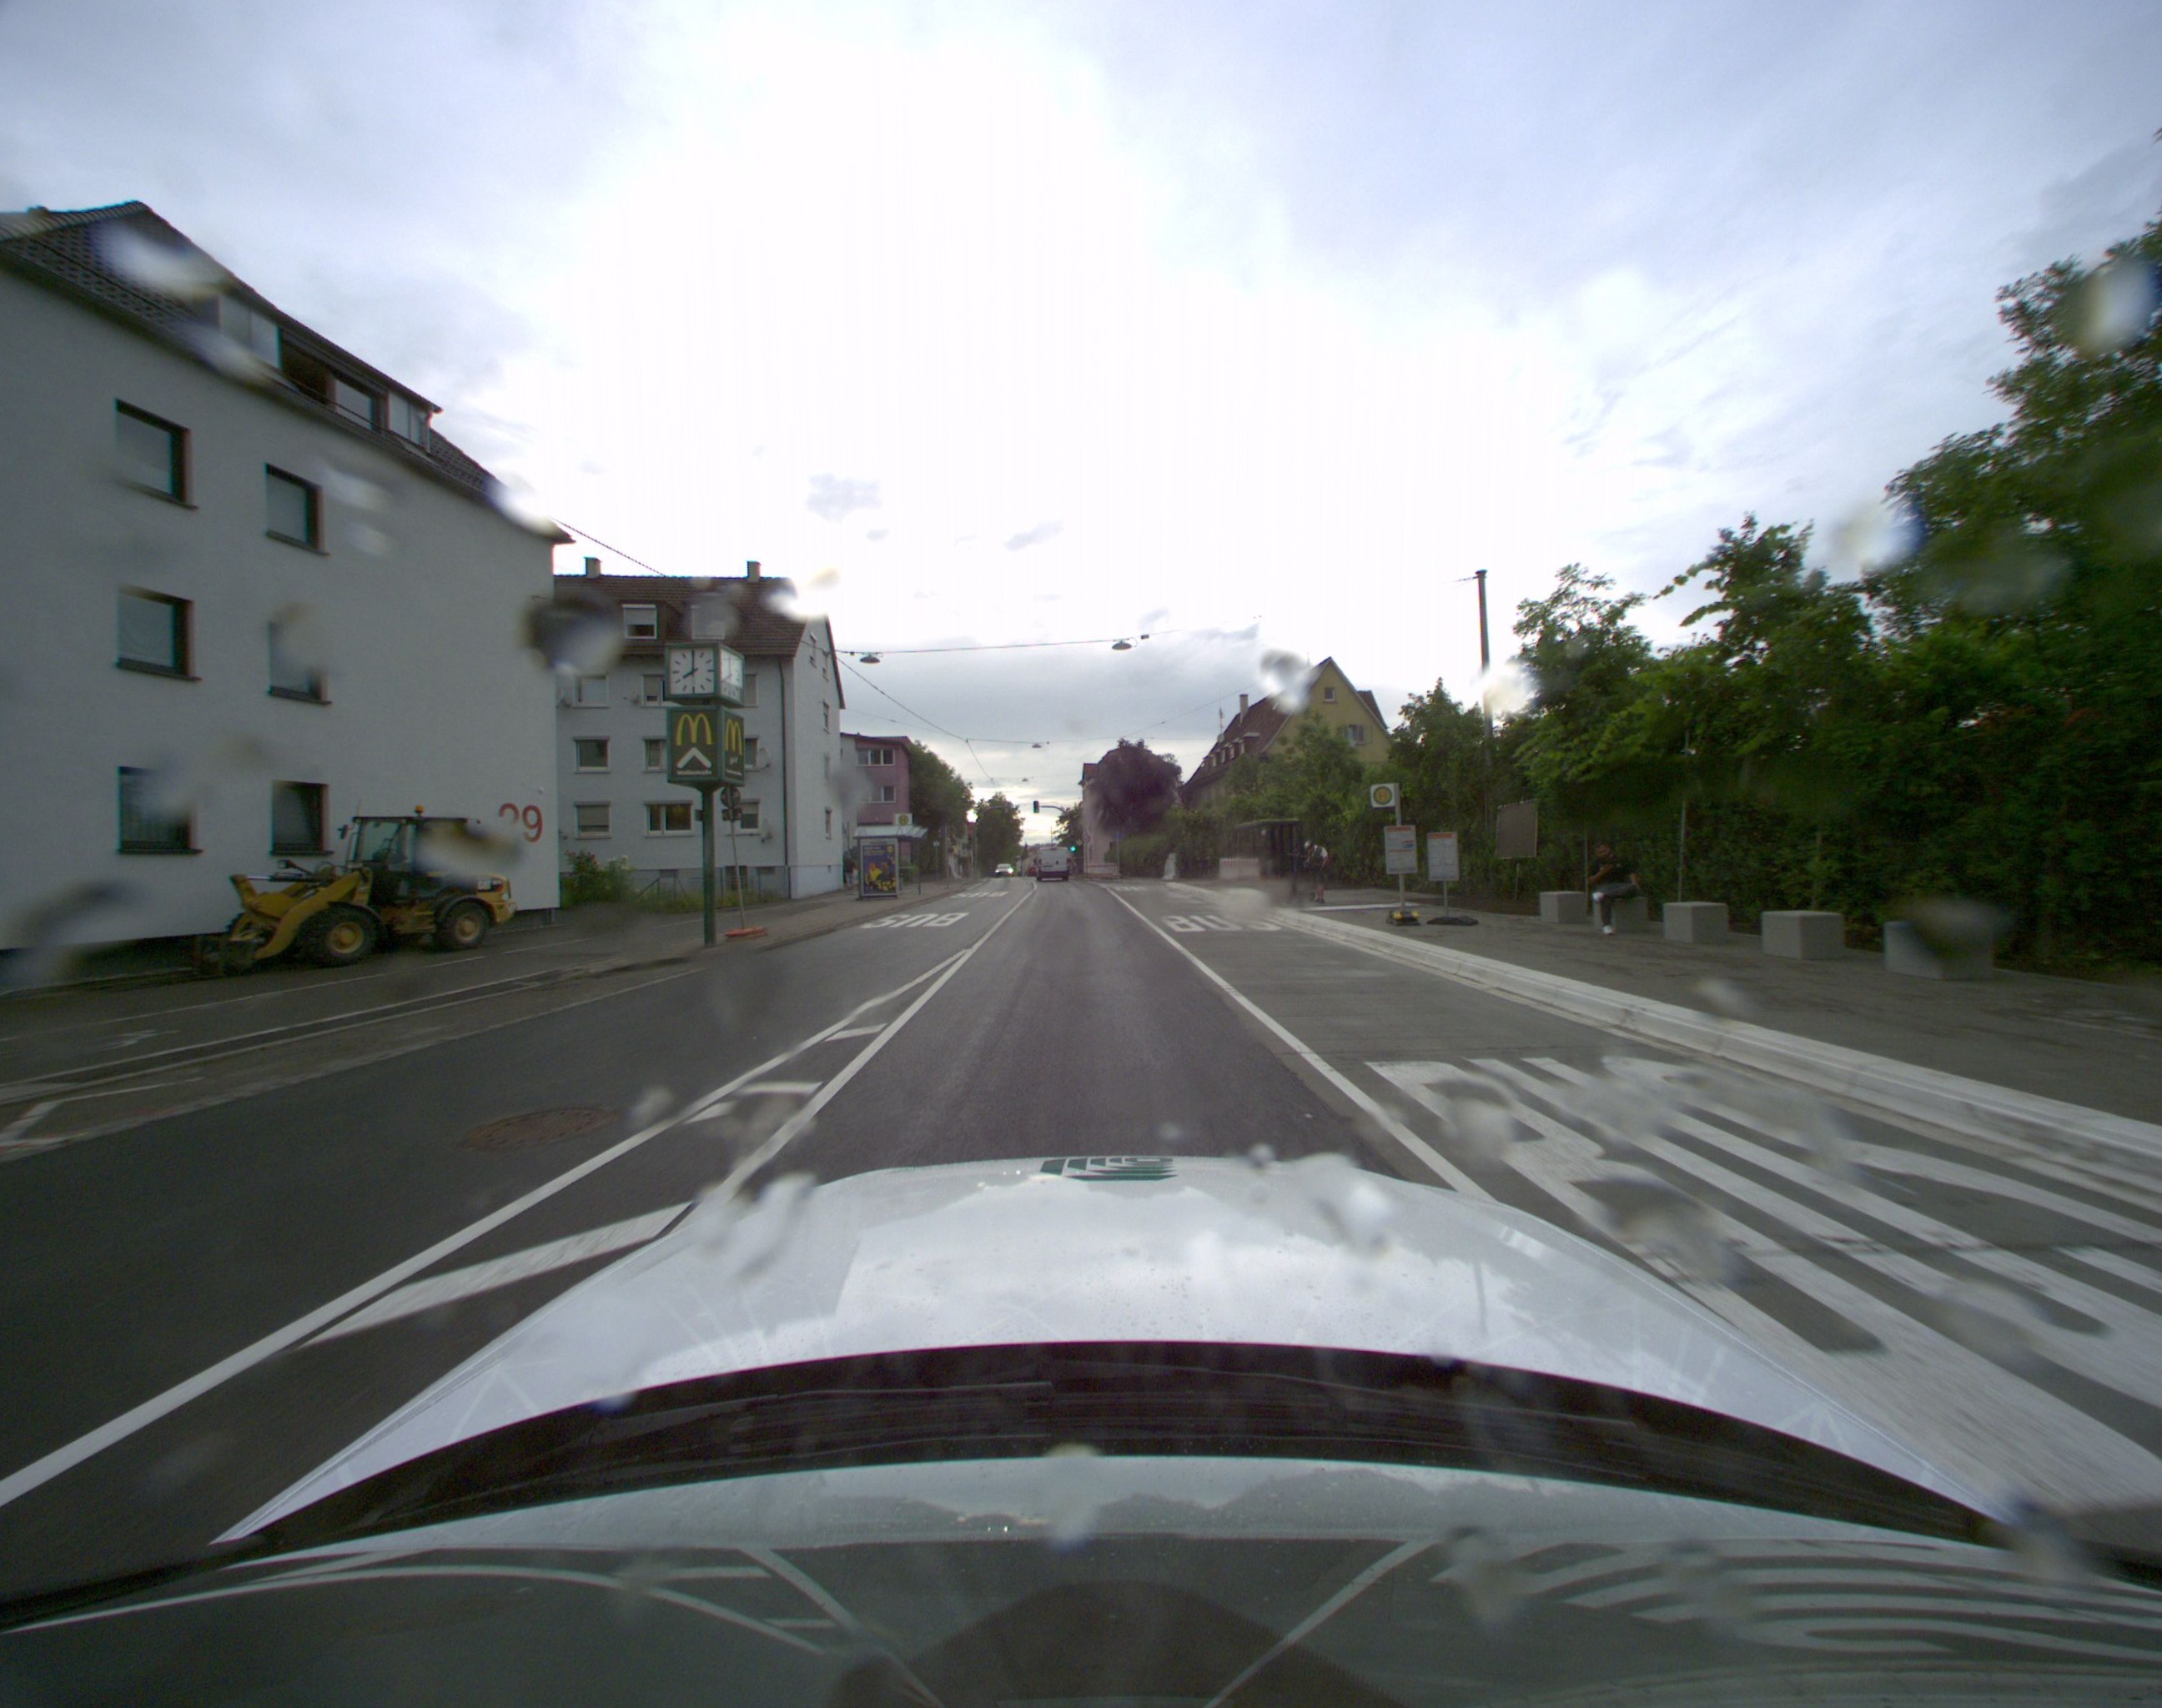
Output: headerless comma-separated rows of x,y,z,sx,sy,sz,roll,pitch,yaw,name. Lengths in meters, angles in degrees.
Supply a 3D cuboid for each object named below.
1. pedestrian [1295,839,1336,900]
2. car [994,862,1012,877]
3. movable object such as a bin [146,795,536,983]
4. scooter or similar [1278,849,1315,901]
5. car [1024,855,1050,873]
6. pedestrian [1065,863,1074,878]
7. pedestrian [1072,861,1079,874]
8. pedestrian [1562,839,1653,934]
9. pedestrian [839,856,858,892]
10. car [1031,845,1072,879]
6.136,0.407,21.266,0.925,1.547,0.539,-1,-1,-38,pedestrian
-8.293,1.649,86.261,1.781,1.452,4.379,-2,0,-7,car
-12.912,0.494,14.823,2.116,2.806,4.991,0,1,9,movable object such as a bin
5.607,0.532,21.148,1.249,1.315,0.229,-1,-1,-41,scooter or similar
-4.704,1.074,86.584,2.345,1.728,4.764,-2,-1,-8,car
-1.415,2.023,99.344,0.640,1.710,0.740,-3,-2,-39,pedestrian
-0.750,1.726,103.949,0.660,1.741,0.826,-3,-2,-11,pedestrian
7.883,0.466,12.193,1.073,1.329,0.801,-1,-1,-38,pedestrian
-12.067,1.006,42.348,0.805,1.821,1.113,-1,0,-9,pedestrian
-2.097,0.593,55.918,2.345,2.160,4.764,-2,-1,-8,car
